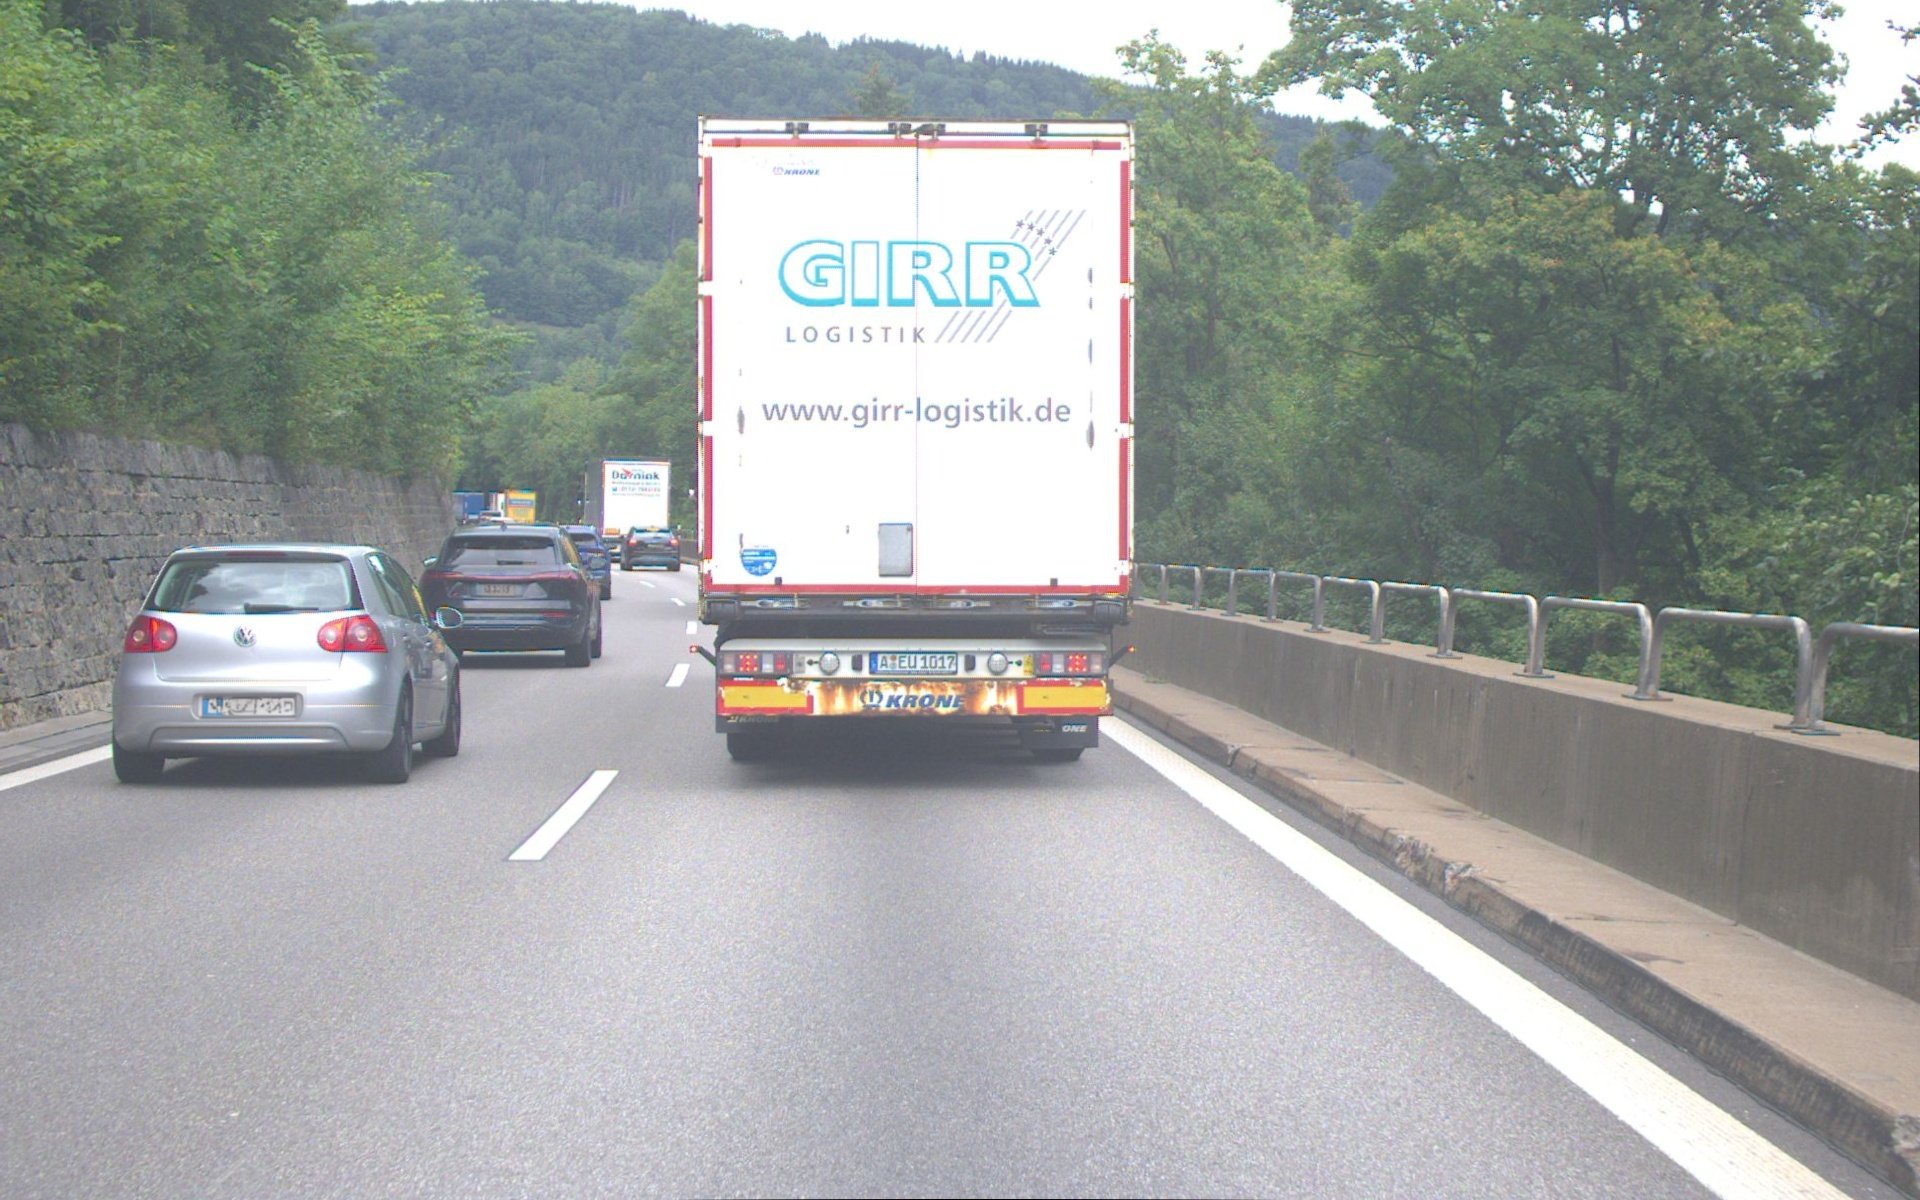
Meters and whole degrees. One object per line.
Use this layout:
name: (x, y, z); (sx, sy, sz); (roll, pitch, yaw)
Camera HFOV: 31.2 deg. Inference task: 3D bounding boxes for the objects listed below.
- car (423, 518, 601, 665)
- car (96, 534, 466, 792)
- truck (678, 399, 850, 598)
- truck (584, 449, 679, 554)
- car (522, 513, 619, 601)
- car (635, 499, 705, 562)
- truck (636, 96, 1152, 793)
car: (-5.097, -0.127, 39.466); (1.916, 1.589, 4.180); (0, 1, -6)
car: (-4.215, 0.335, 21.895); (1.729, 1.481, 4.001); (0, 1, -3)
truck: (-3.907, -1.912, 66.620); (2.485, 3.559, 9.311); (0, 1, -8)
truck: (-12.950, -3.774, 134.748); (3.510, 3.834, 11.779); (1, 0, -6)
car: (-8.450, -0.958, 74.862); (1.993, 1.842, 4.001); (1, 1, -5)
car: (-9.519, -2.262, 113.063); (1.993, 2.007, 4.000); (1, 0, -1)
truck: (-0.429, -0.977, 24.260); (2.908, 3.947, 9.279); (1, 1, -1)
